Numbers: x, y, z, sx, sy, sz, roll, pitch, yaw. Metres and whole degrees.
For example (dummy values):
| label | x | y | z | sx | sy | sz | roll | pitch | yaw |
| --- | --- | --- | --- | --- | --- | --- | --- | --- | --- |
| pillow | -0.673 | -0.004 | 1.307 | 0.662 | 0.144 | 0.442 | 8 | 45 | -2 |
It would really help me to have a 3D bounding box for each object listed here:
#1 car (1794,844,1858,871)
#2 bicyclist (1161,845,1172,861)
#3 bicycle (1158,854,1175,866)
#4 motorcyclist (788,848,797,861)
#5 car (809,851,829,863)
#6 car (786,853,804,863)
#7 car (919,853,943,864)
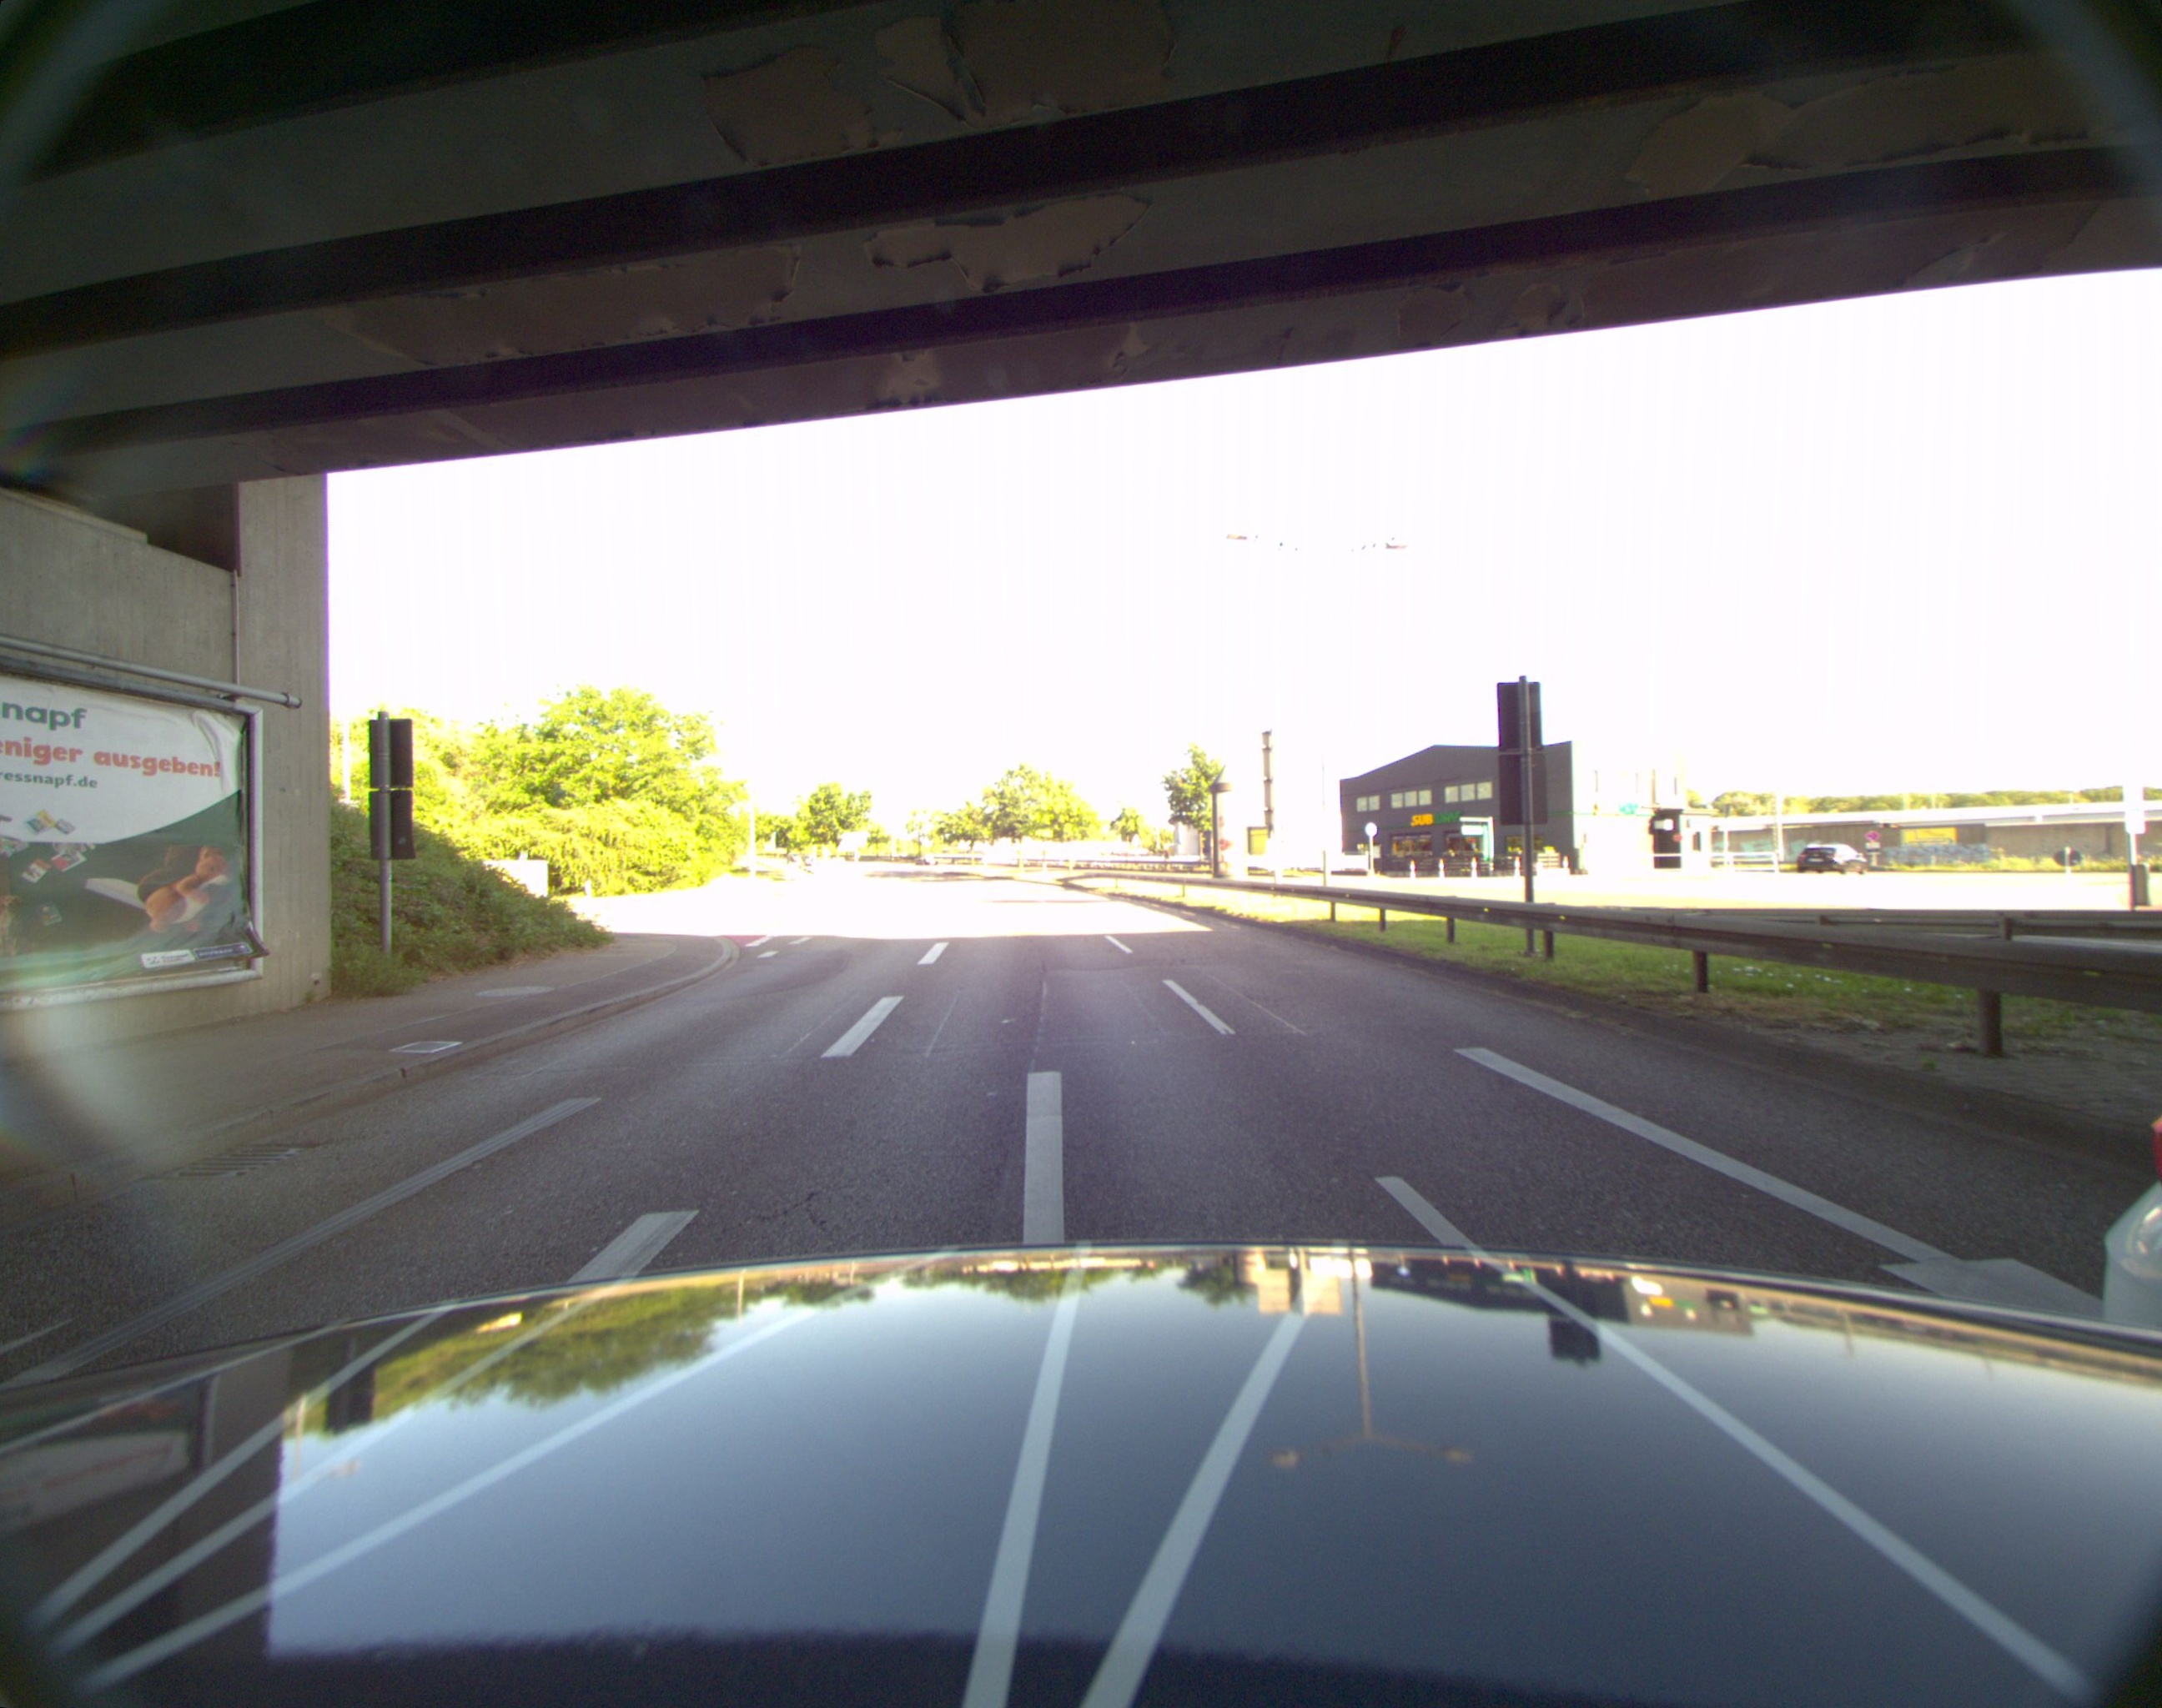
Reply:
| label | x | y | z | sx | sy | sz | roll | pitch | yaw |
| --- | --- | --- | --- | --- | --- | --- | --- | --- | --- |
| car | 38.281 | 0.194 | 39.017 | 4.191 | 1.274 | 1.825 | 1 | 0 | -39 |
| bicyclist | 7.310 | -0.086 | 65.018 | 0.594 | 1.419 | 0.707 | -3 | 1 | -28 |
| bicycle | 7.321 | 0.506 | 65.054 | 0.594 | 1.017 | 1.746 | -3 | 1 | -28 |
| motorcyclist | -50.308 | 0.088 | 132.453 | 1.179 | 2.228 | 1.111 | -1 | 2 | 45 |
| car | -34.027 | 0.459 | 98.535 | 1.741 | 1.411 | 4.310 | -1 | -2 | -29 |
| car | -43.867 | 0.636 | 116.421 | 1.742 | 1.411 | 4.309 | -1 | -2 | -31 |
| car | -18.896 | 0.570 | 95.458 | 1.750 | 1.274 | 4.173 | 1 | 0 | -28 |
